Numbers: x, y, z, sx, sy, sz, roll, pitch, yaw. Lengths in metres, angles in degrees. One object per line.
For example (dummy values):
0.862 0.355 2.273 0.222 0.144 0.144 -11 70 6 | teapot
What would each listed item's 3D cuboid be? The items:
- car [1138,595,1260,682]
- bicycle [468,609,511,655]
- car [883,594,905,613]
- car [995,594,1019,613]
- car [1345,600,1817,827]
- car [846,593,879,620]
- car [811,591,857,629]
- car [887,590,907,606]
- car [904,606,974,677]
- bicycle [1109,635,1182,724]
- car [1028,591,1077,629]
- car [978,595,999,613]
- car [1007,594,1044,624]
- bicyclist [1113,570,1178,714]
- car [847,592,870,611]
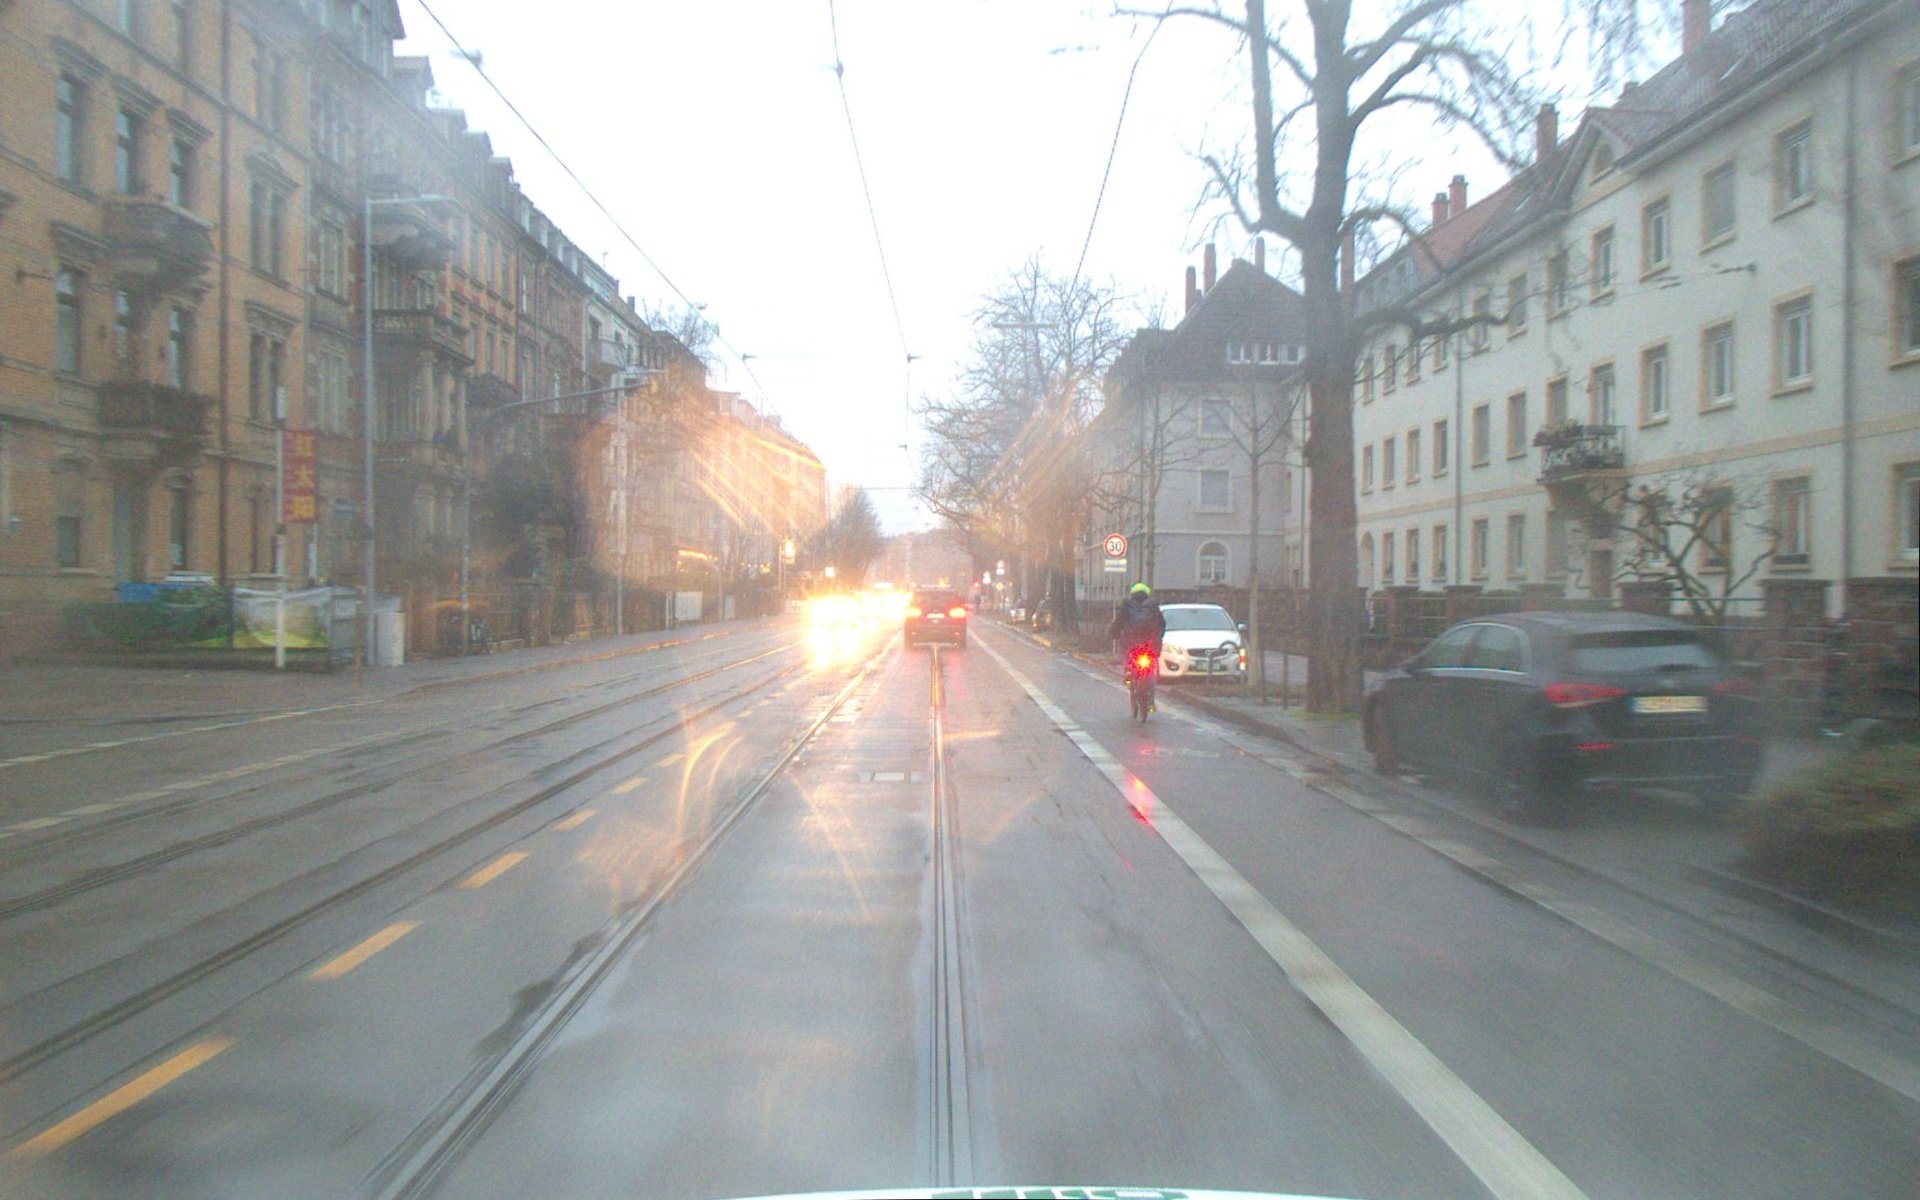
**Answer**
4.450 0.681 31.339 1.749 1.536 4.108 0 0 0 | car
-10.956 0.742 38.560 0.486 1.024 1.764 1 0 0 | bicycle
-6.002 0.290 150.880 1.884 1.691 3.999 0 0 -1 | car
3.752 0.271 132.971 1.749 1.536 4.108 0 0 -1 | car
4.680 0.754 13.256 1.842 1.444 4.339 -1 0 -5 | car
-6.143 0.387 104.381 1.884 1.691 3.999 0 0 -1 | car
-5.872 0.447 77.237 1.884 1.691 3.999 0 0 -1 | car
-6.464 -0.205 169.703 1.884 1.691 3.999 0 0 -1 | car
-0.582 1.185 48.852 1.764 1.903 4.019 3 0 2 | car
2.311 0.972 20.765 0.716 1.024 1.764 1 0 0 | bicycle
3.846 0.408 69.239 1.749 1.536 4.108 0 0 -1 | car
2.484 0.347 146.058 1.749 1.536 4.108 0 0 -1 | car
3.445 0.434 87.259 1.749 1.536 4.108 0 0 -1 | car
2.315 0.522 20.755 0.715 1.767 0.765 1 0 0 | bicyclist
-9.182 0.119 149.162 1.884 1.750 3.999 0 0 -1 | car
